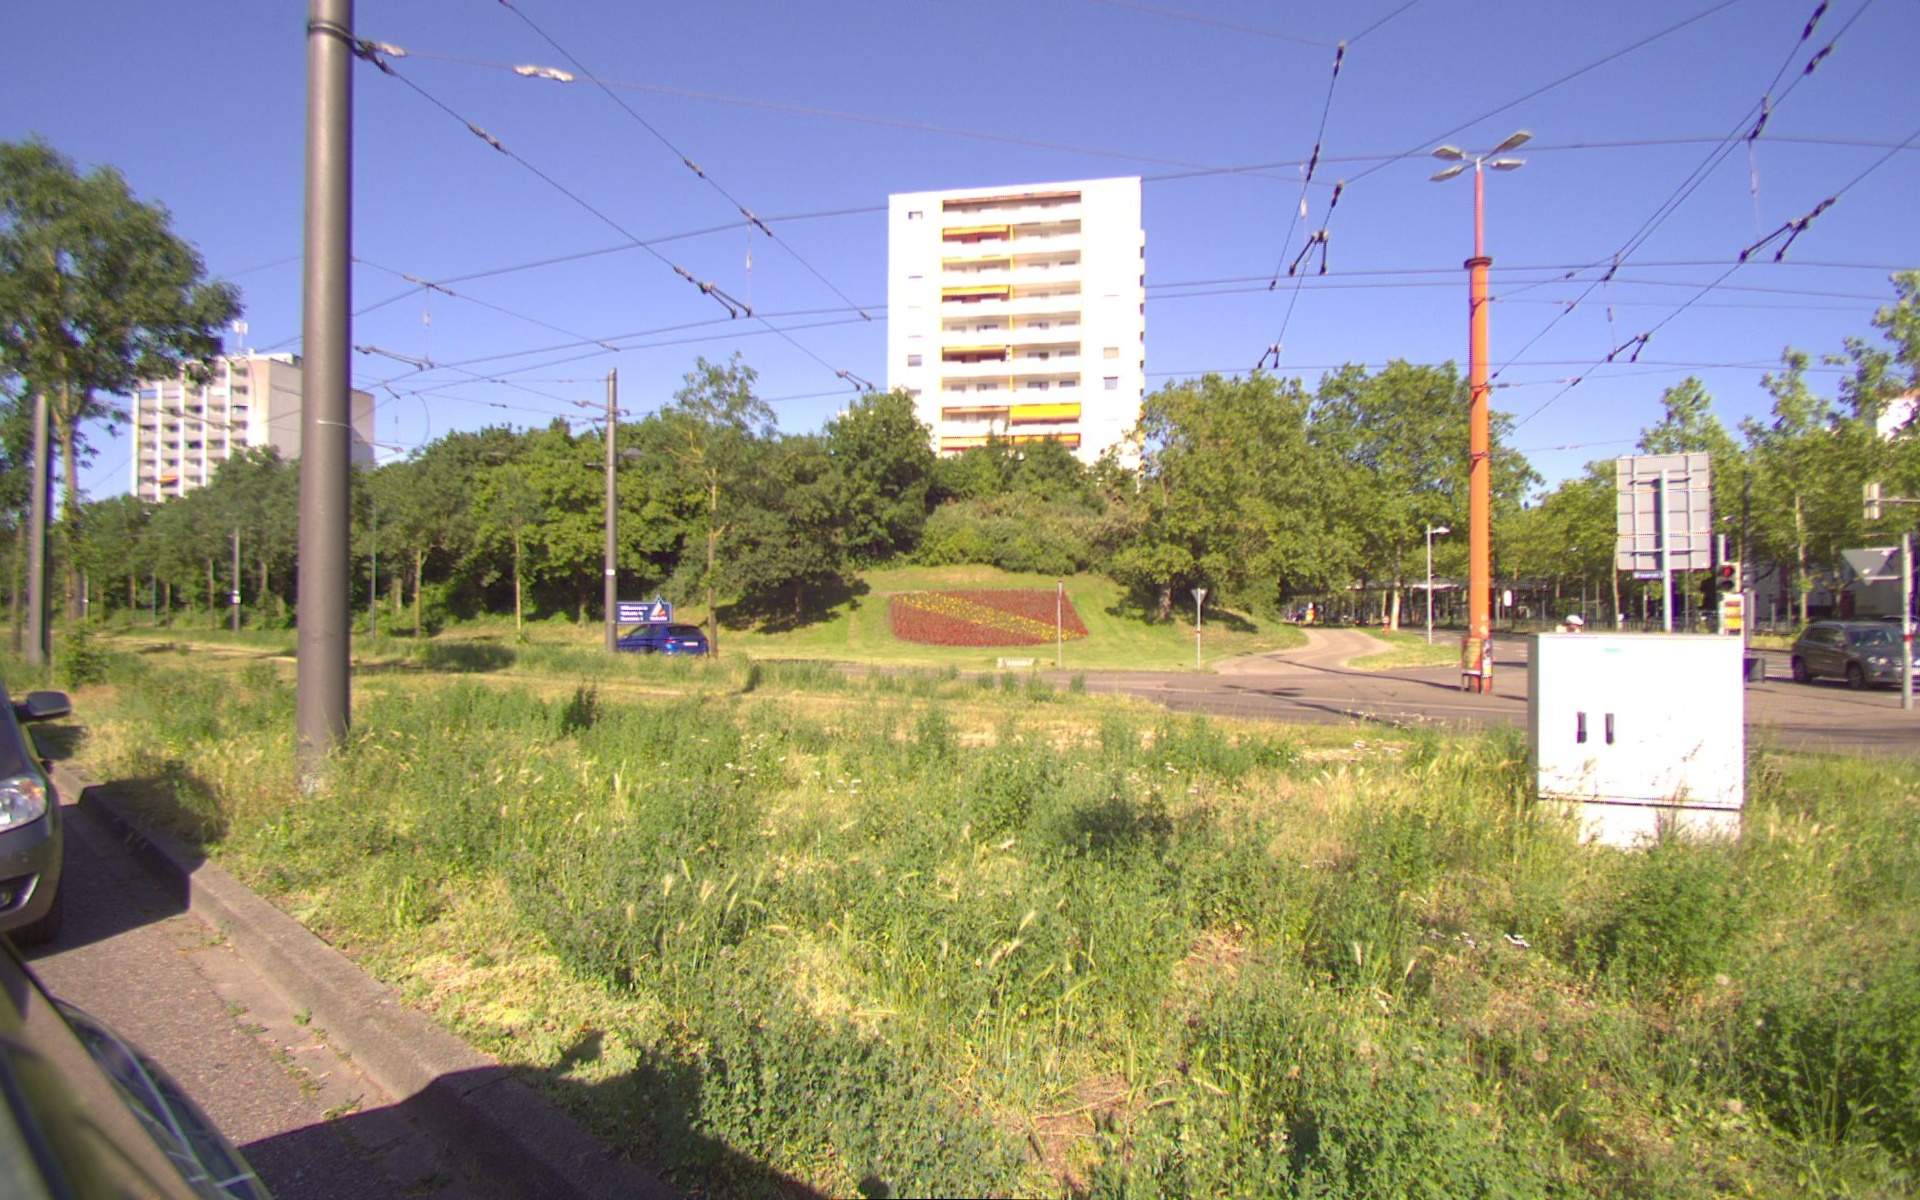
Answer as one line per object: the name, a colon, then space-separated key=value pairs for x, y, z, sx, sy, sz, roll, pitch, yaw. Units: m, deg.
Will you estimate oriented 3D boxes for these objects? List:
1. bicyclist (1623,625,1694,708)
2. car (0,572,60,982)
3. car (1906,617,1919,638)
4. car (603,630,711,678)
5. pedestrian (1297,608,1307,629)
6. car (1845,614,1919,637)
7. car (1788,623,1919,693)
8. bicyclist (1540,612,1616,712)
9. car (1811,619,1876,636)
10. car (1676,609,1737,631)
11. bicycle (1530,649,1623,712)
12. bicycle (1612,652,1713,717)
bicyclist: x=13.495 y=1.266 z=19.579 sx=0.710 sy=1.536 sz=0.924 roll=-1 pitch=0 yaw=0
car: x=-5.821 y=0.753 z=4.883 sx=3.998 sy=1.652 sz=1.726 roll=-1 pitch=0 yaw=41
car: x=63.691 y=1.775 z=65.154 sx=1.472 sy=1.341 sz=3.746 roll=-1 pitch=0 yaw=-27
car: x=-9.809 y=1.688 z=32.642 sx=3.908 sy=1.431 sz=1.557 roll=-1 pitch=-2 yaw=42
pedestrian: x=25.645 y=1.372 z=75.923 sx=0.682 sy=1.568 sz=0.984 roll=-1 pitch=-1 yaw=22
car: x=63.806 y=1.742 z=69.986 sx=1.589 sy=1.471 sz=3.656 roll=-1 pitch=0 yaw=-38
car: x=23.020 y=1.392 z=25.410 sx=1.900 sy=1.507 sz=4.026 roll=-1 pitch=0 yaw=15
bicyclist: x=12.119 y=1.192 z=19.865 sx=0.880 sy=1.881 sz=0.924 roll=-1 pitch=0 yaw=-2
car: x=64.411 y=1.987 z=73.837 sx=1.425 sy=1.197 sz=3.423 roll=-1 pitch=0 yaw=-41
car: x=72.148 y=1.937 z=97.863 sx=1.909 sy=1.999 sz=4.350 roll=1 pitch=-2 yaw=-38
bicycle: x=12.073 y=1.548 z=19.882 sx=0.571 sy=1.079 sz=1.917 roll=-1 pitch=0 yaw=-3
bicycle: x=13.508 y=1.596 z=19.529 sx=0.571 sy=1.079 sz=1.916 roll=-1 pitch=0 yaw=0
